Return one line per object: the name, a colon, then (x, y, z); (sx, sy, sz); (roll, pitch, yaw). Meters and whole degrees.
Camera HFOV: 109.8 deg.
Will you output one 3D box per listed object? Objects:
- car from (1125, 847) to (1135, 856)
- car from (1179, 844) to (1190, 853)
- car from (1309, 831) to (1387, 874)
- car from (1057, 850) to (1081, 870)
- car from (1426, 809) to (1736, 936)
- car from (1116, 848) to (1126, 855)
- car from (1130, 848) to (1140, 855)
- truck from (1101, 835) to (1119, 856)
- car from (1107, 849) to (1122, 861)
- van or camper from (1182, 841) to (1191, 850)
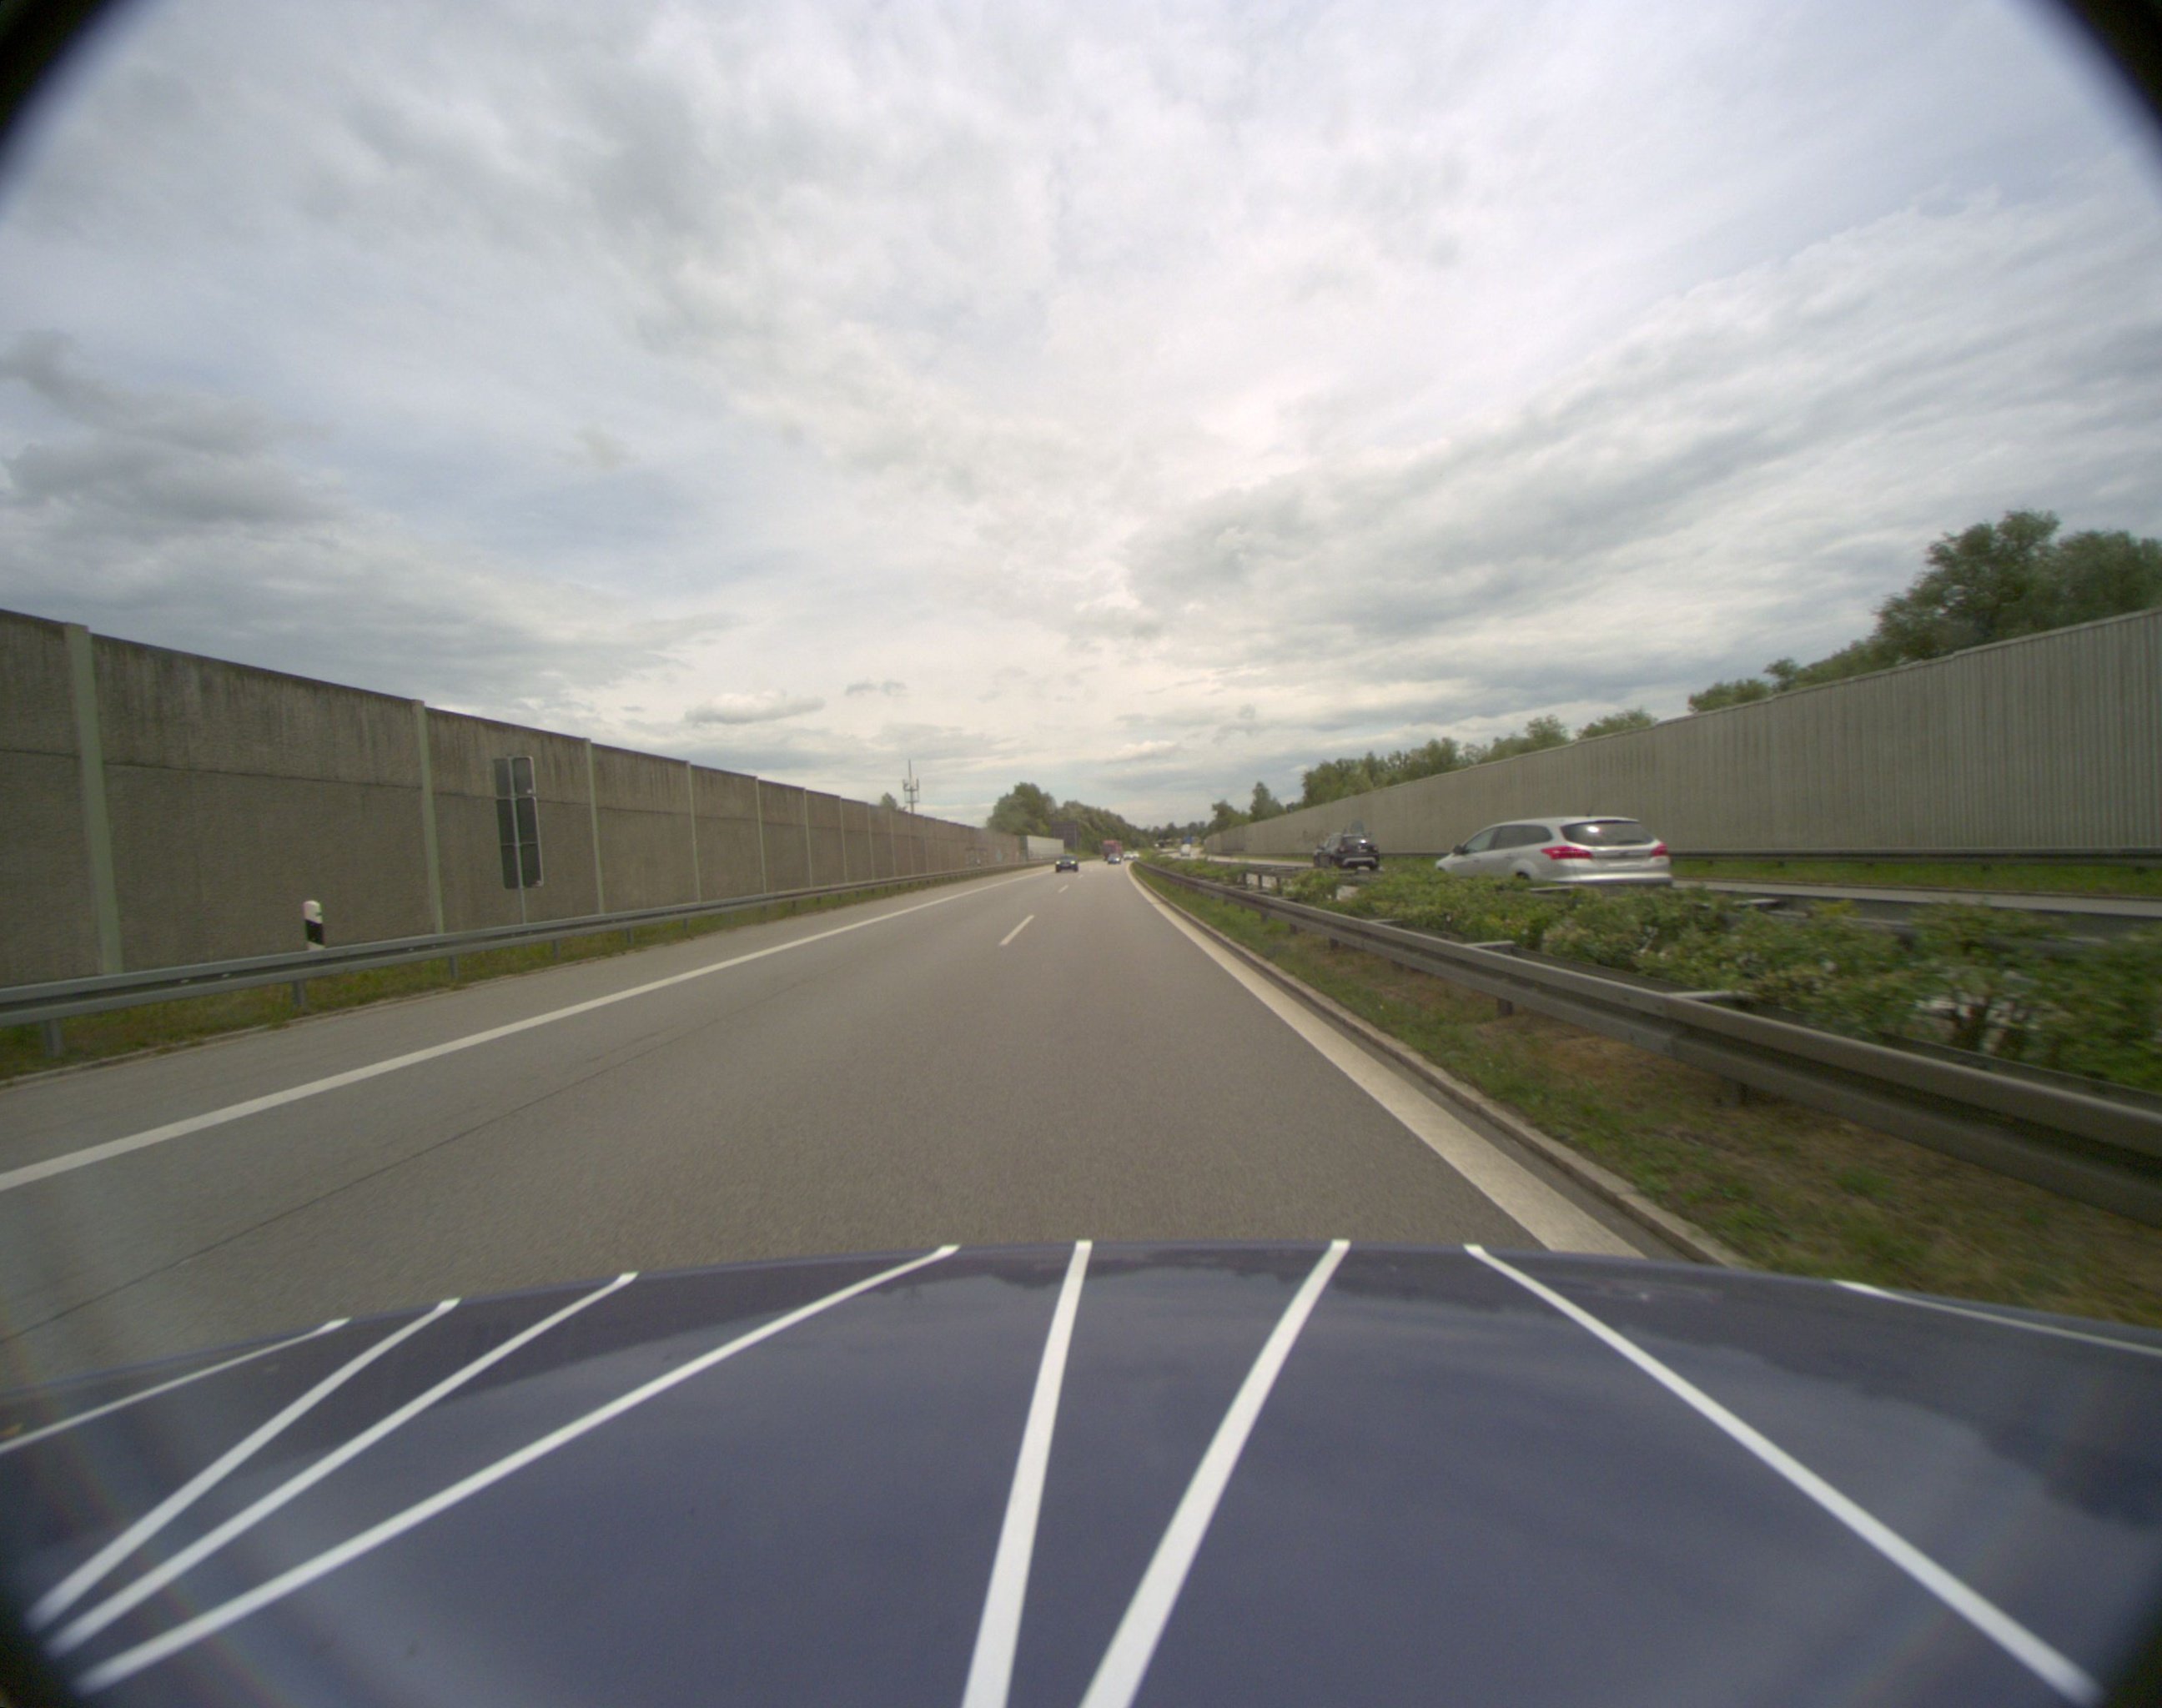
car: (9.428, -0.475, 147.126); (1.889, 1.608, 4.001); (-1, 0, 4)
car: (20.657, -1.035, 151.392); (1.745, 1.734, 4.628); (-2, 0, 3)
car: (11.106, -0.070, 31.918); (1.720, 1.632, 4.705); (-2, 0, 2)
car: (-1.052, 0.521, 66.830); (1.889, 1.608, 4.000); (-1, 0, 1)
car: (7.419, 0.228, 11.987); (1.936, 1.540, 4.567); (-2, 0, 2)
car: (9.869, -0.562, 187.307); (1.888, 1.608, 4.003); (-2, 0, 10)
car: (12.699, -0.634, 178.582); (1.888, 1.608, 4.003); (-1, 0, 10)
truck: (6.087, -1.679, 158.139); (2.933, 4.068, 11.346); (-2, 0, 5)
car: (4.703, 0.170, 105.457); (1.889, 1.608, 4.001); (-1, 0, 4)
van or camper: (35.426, -2.988, 254.881); (2.470, 2.853, 7.774); (-2, 0, 11)
